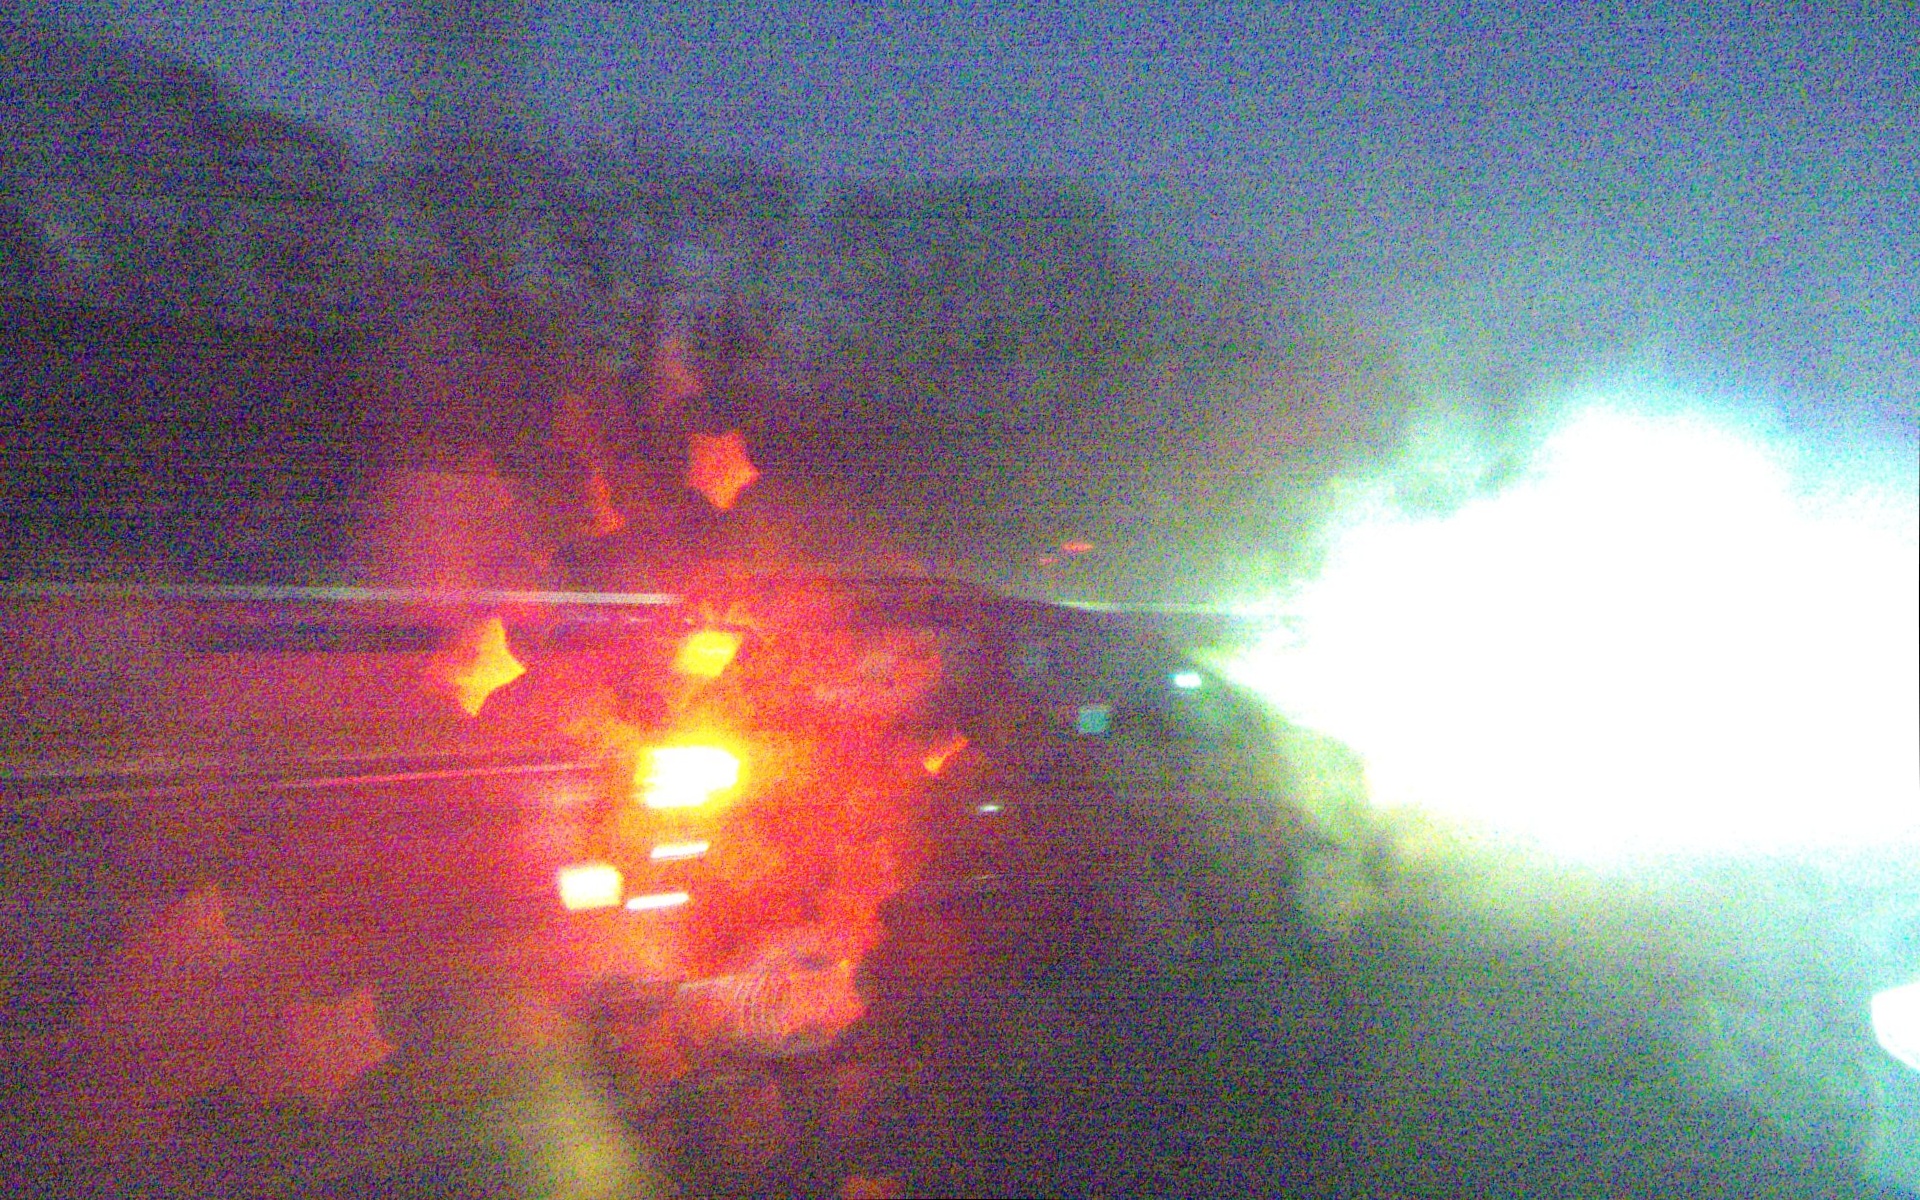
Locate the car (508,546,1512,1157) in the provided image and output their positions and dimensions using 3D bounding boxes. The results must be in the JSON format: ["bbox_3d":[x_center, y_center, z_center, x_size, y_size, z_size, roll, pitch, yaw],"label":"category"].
[{"bbox_3d":[0.346,0.708,4.552,4.184,1.616,1.906,2,0,-31],"label":"car"}]

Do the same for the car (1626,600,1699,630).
[{"bbox_3d":[37.802,0.815,54.058,3.954,1.484,1.699,1,2,-31],"label":"car"}]

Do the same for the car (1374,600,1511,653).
[{"bbox_3d":[14.810,0.798,30.797,3.956,1.484,1.961,2,0,-32],"label":"car"}]

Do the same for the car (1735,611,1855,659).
[{"bbox_3d":[28.303,1.165,34.022,3.956,1.484,1.961,2,0,-32],"label":"car"}]

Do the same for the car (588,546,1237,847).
[{"bbox_3d":[-0.273,0.620,8.081,4.829,1.801,1.984,2,0,-30],"label":"car"}]
